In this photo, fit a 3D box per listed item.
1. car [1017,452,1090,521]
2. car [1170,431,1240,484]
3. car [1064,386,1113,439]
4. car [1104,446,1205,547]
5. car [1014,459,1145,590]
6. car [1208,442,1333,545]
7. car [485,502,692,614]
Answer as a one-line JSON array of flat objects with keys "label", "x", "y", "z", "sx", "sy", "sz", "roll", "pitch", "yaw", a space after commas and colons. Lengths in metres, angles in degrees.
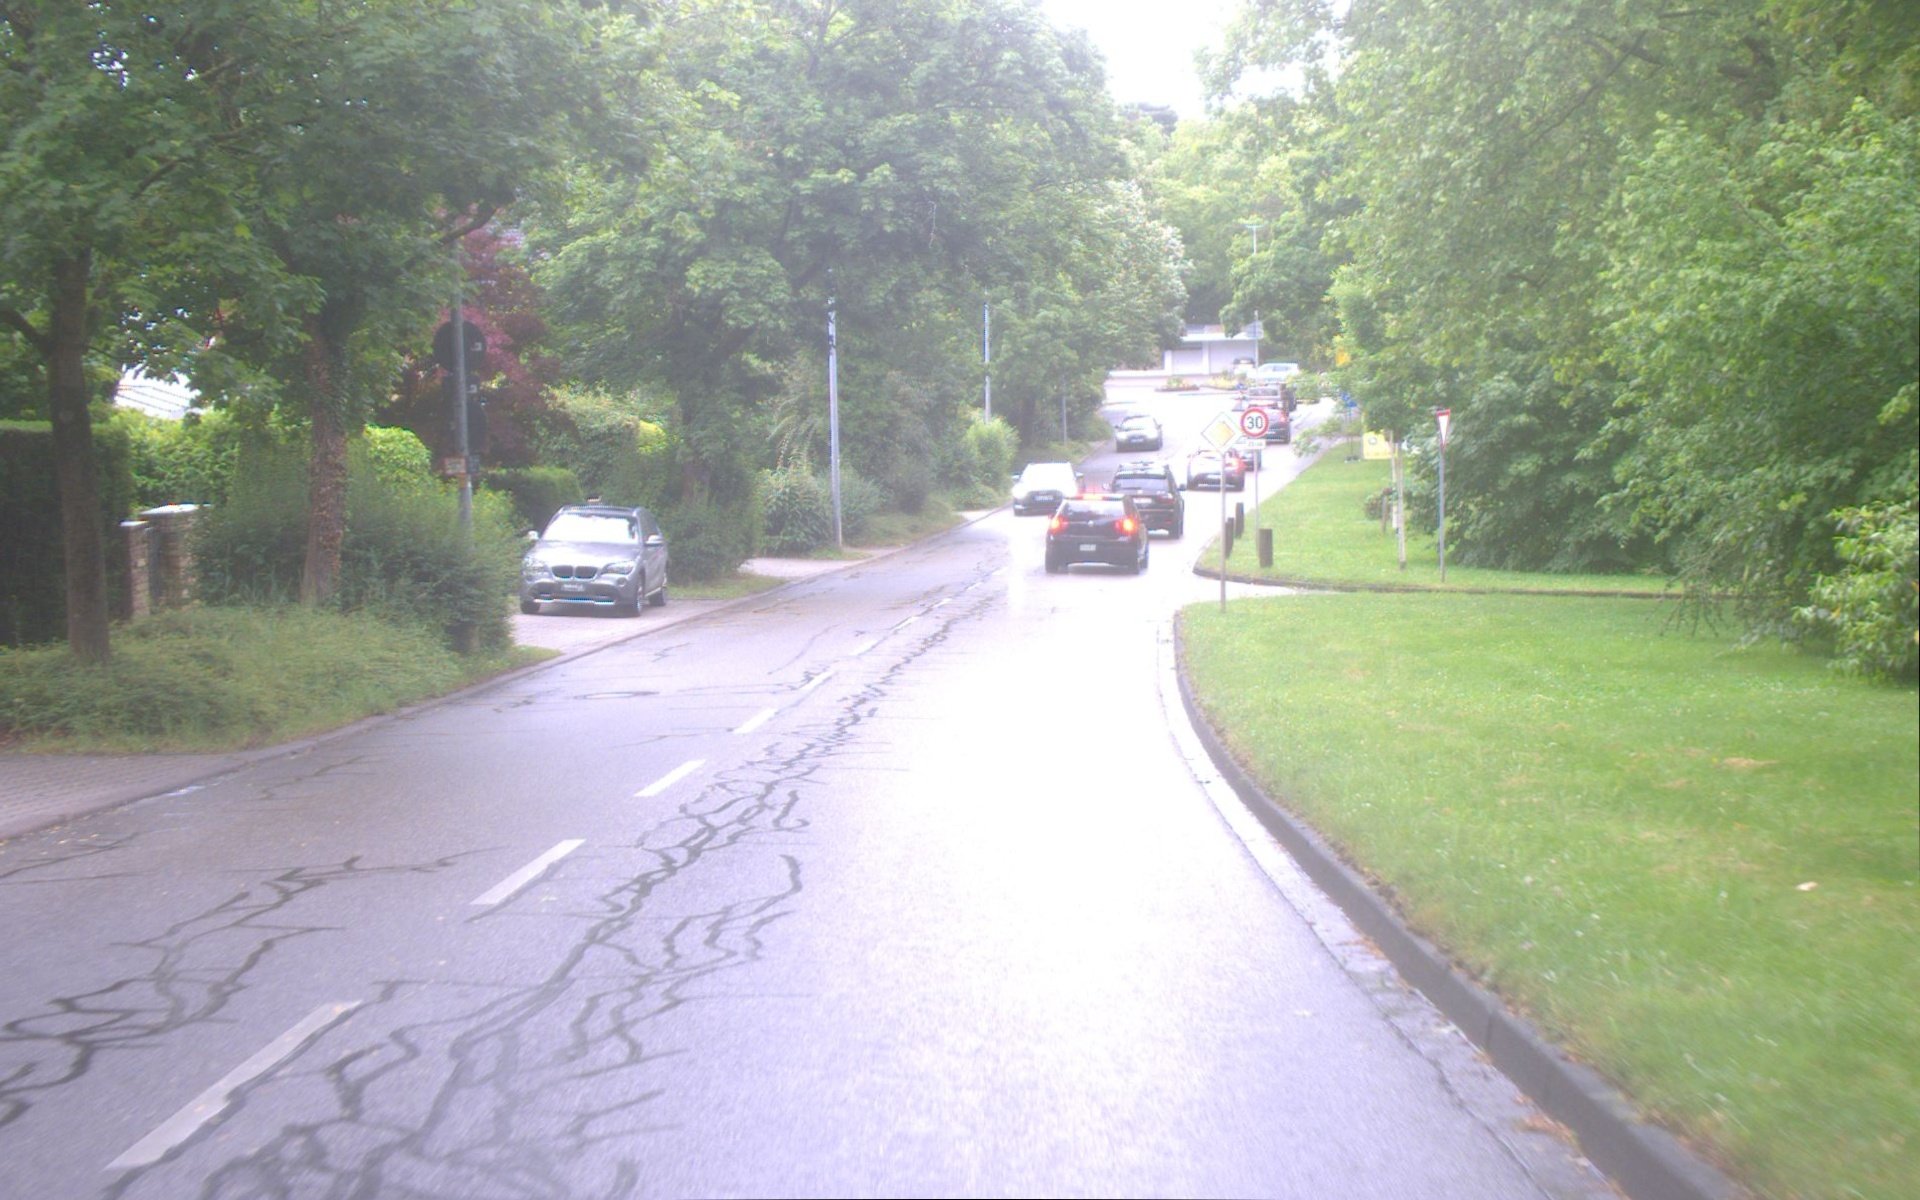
[{"label": "car", "x": 2.725, "y": -3.296, "z": 99.316, "sx": 1.994, "sy": 1.649, "sz": 4.002, "roll": 0, "pitch": 7, "yaw": 3}, {"label": "car", "x": 8.180, "y": -4.754, "z": 115.062, "sx": 1.856, "sy": 1.686, "sz": 4.001, "roll": -1, "pitch": 2, "yaw": -2}, {"label": "car", "x": 5.551, "y": -8.119, "z": 148.669, "sx": 1.993, "sy": 2.006, "sz": 4.002, "roll": -1, "pitch": 7, "yaw": 0}, {"label": "car", "x": 4.567, "y": -2.467, "z": 81.097, "sx": 1.993, "sy": 2.006, "sz": 4.002, "roll": -1, "pitch": 7, "yaw": -2}, {"label": "car", "x": 2.166, "y": -1.430, "z": 63.460, "sx": 2.146, "sy": 2.006, "sz": 4.002, "roll": -1, "pitch": 7, "yaw": -2}, {"label": "car", "x": 6.244, "y": -2.154, "z": 69.511, "sx": 1.993, "sy": 2.007, "sz": 4.001, "roll": -1, "pitch": 2, "yaw": -2}, {"label": "car", "x": -5.480, "y": -0.661, "z": 51.233, "sx": 1.994, "sy": 1.593, "sz": 4.009, "roll": 0, "pitch": 2, "yaw": 10}]
